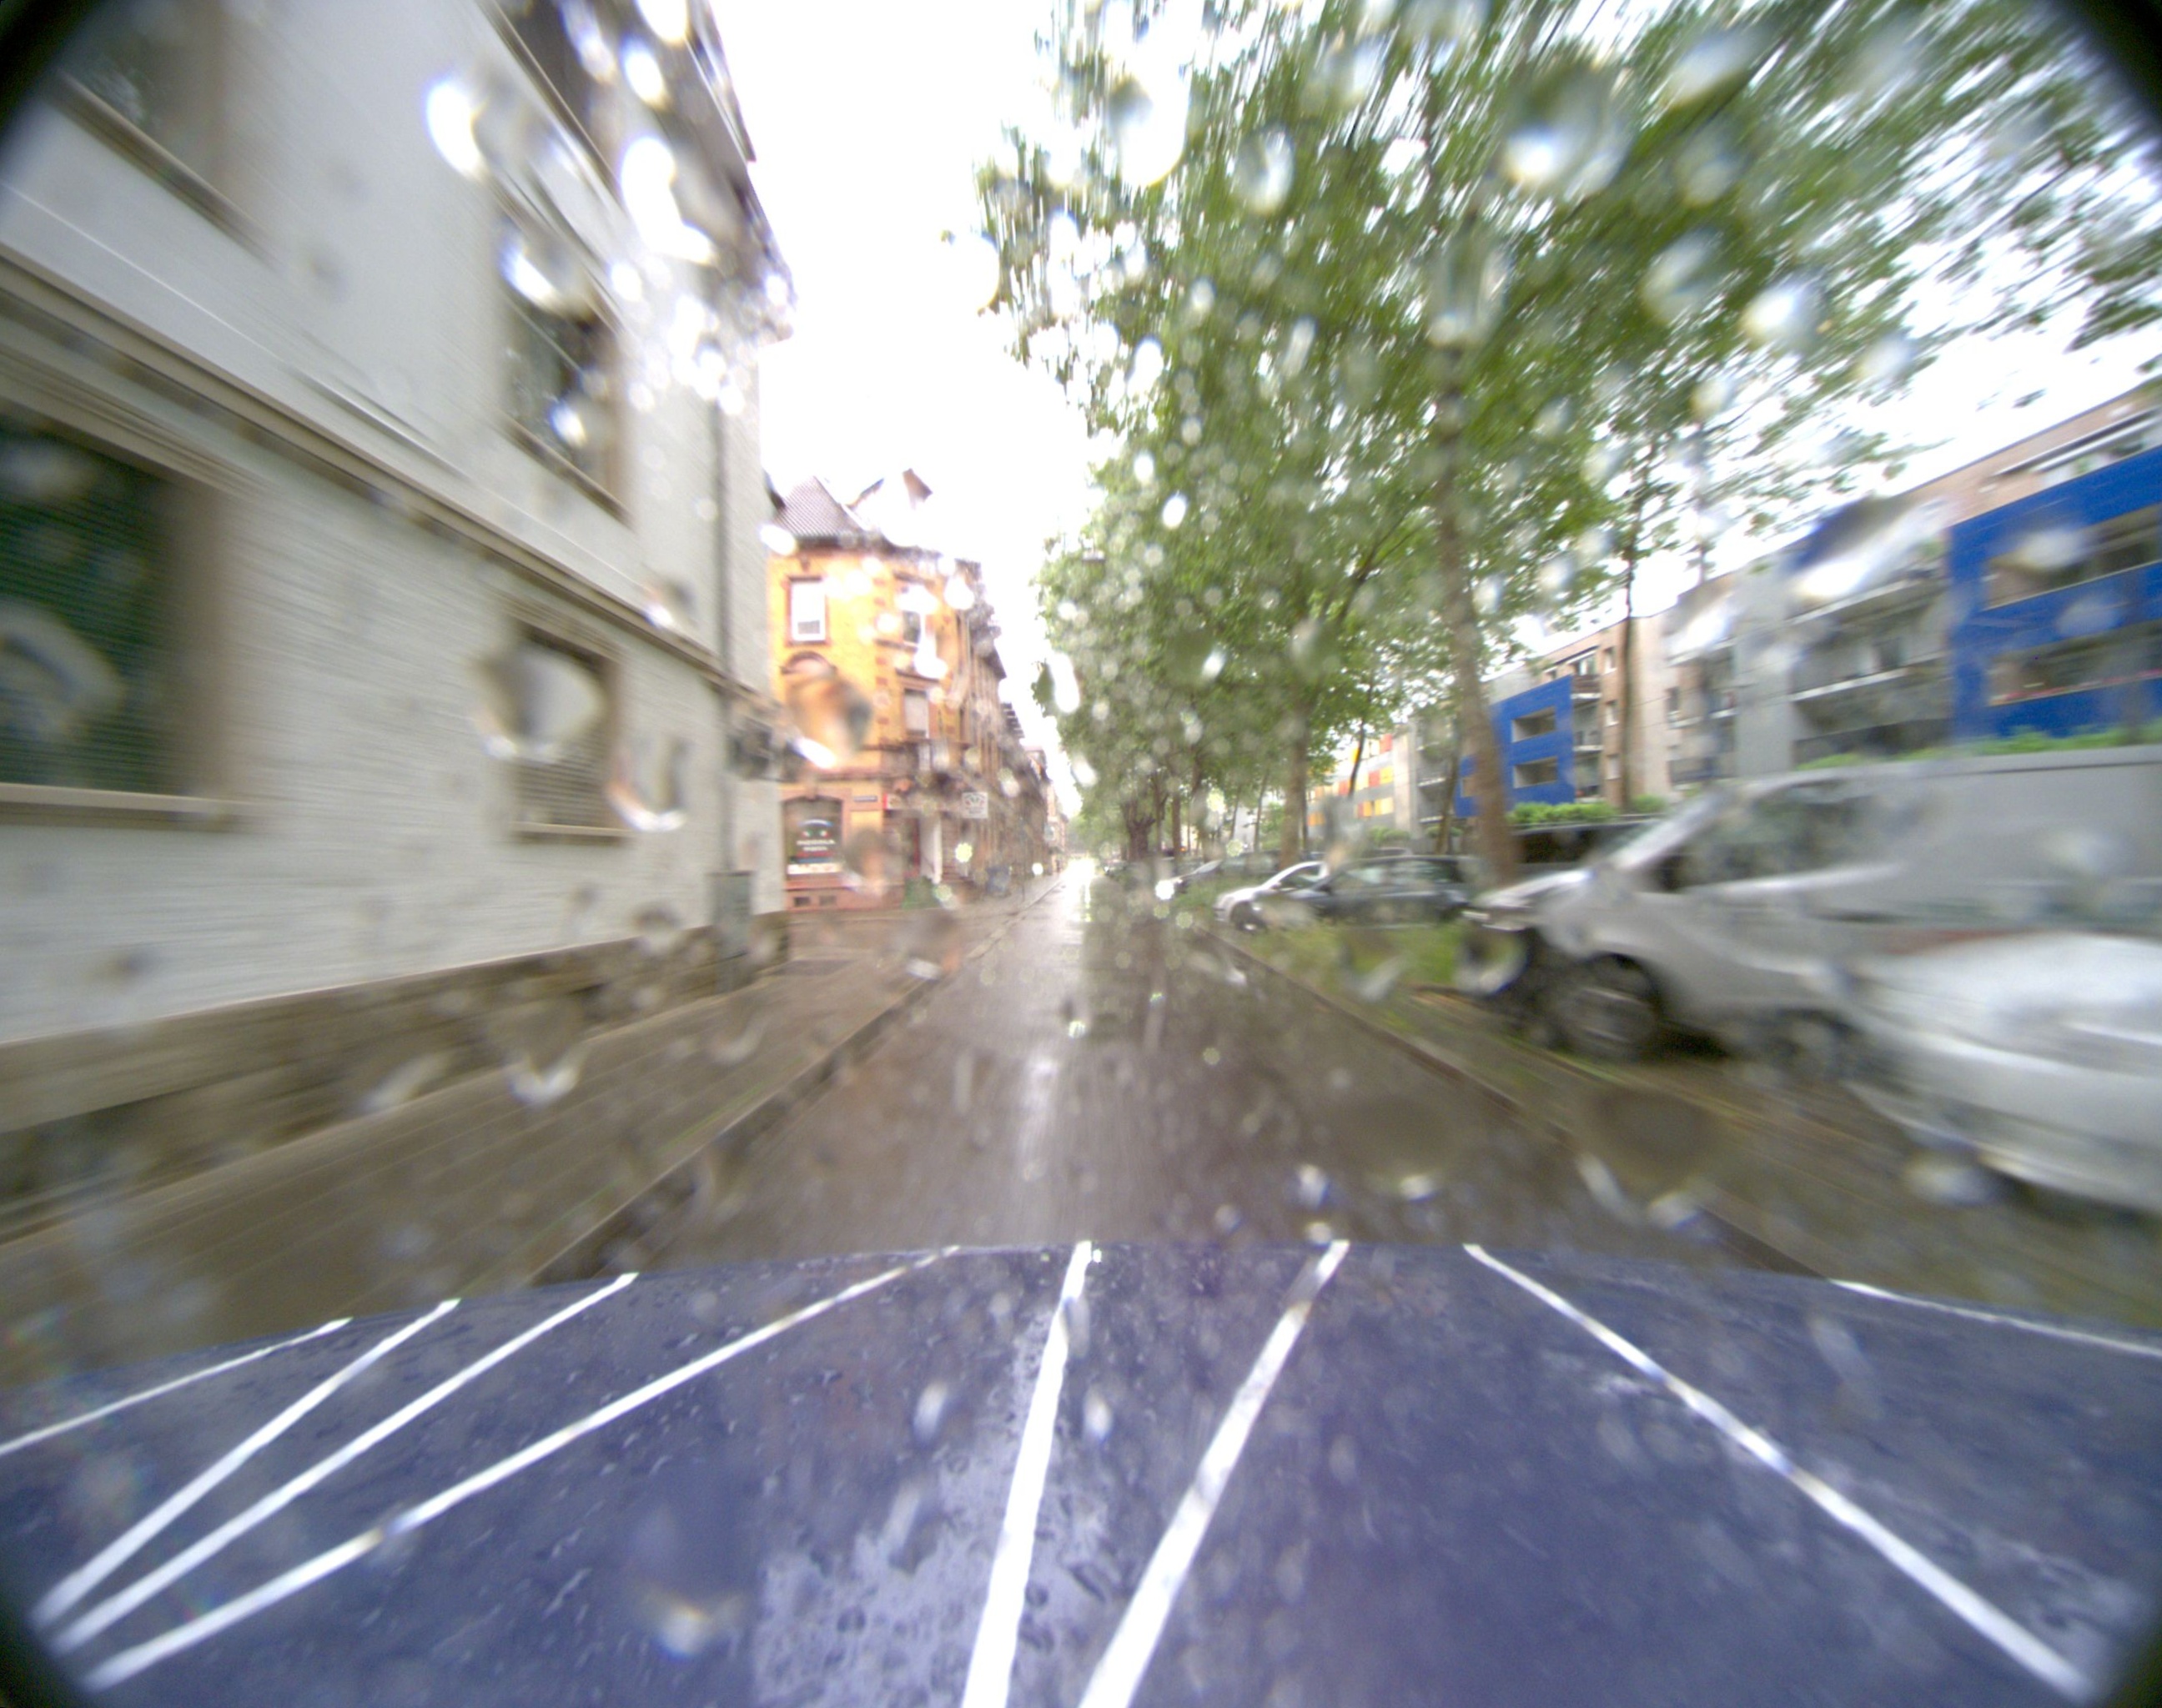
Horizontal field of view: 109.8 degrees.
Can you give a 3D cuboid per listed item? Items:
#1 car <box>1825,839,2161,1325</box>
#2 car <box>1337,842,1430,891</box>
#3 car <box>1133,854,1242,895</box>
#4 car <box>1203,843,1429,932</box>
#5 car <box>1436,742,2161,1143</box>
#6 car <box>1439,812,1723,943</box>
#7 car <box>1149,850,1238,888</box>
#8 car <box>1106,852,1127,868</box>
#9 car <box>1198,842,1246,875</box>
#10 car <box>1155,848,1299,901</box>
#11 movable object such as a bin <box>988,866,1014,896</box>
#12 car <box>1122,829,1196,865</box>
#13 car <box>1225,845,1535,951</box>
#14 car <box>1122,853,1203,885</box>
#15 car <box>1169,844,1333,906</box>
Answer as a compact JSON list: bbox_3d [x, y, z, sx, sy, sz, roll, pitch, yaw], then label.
[{"bbox_3d":[5.098,0.670,2.291,3.776,1.473,1.725,-2,1,32],"label":"car"},{"bbox_3d":[12.276,0.473,31.191,1.909,1.730,4.421,-4,0,-1],"label":"car"},{"bbox_3d":[4.568,0.877,32.761,4.220,1.471,1.746,-4,0,28],"label":"car"},{"bbox_3d":[4.696,0.676,15.226,4.060,1.490,1.750,-4,0,24],"label":"car"},{"bbox_3d":[5.269,0.425,4.949,5.118,1.966,2.106,-2,1,31],"label":"car"},{"bbox_3d":[9.375,0.365,14.940,1.999,2.002,5.027,-4,1,-2],"label":"car"},{"bbox_3d":[5.215,0.705,35.340,3.645,1.471,1.747,-4,0,31],"label":"car"},{"bbox_3d":[3.741,0.594,79.994,1.901,1.476,4.621,-5,0,0],"label":"car"},{"bbox_3d":[9.554,0.281,51.933,2.043,1.988,5.158,-4,0,-2],"label":"car"},{"bbox_3d":[4.937,0.664,25.898,4.406,1.636,1.875,-1,1,31],"label":"car"},{"bbox_3d":[-3.487,1.158,33.227,1.024,1.294,1.367,0,0,0],"label":"movable object such as a bin"},{"bbox_3d":[5.457,-0.495,53.474,4.648,2.270,2.015,-3,1,30],"label":"car"},{"bbox_3d":[4.719,0.725,12.261,4.306,1.428,1.750,-4,0,27],"label":"car"},{"bbox_3d":[4.560,0.837,42.670,4.056,1.528,1.838,-4,0,26],"label":"car"},{"bbox_3d":[5.127,0.647,22.993,4.407,1.650,1.933,-3,0,28],"label":"car"}]
